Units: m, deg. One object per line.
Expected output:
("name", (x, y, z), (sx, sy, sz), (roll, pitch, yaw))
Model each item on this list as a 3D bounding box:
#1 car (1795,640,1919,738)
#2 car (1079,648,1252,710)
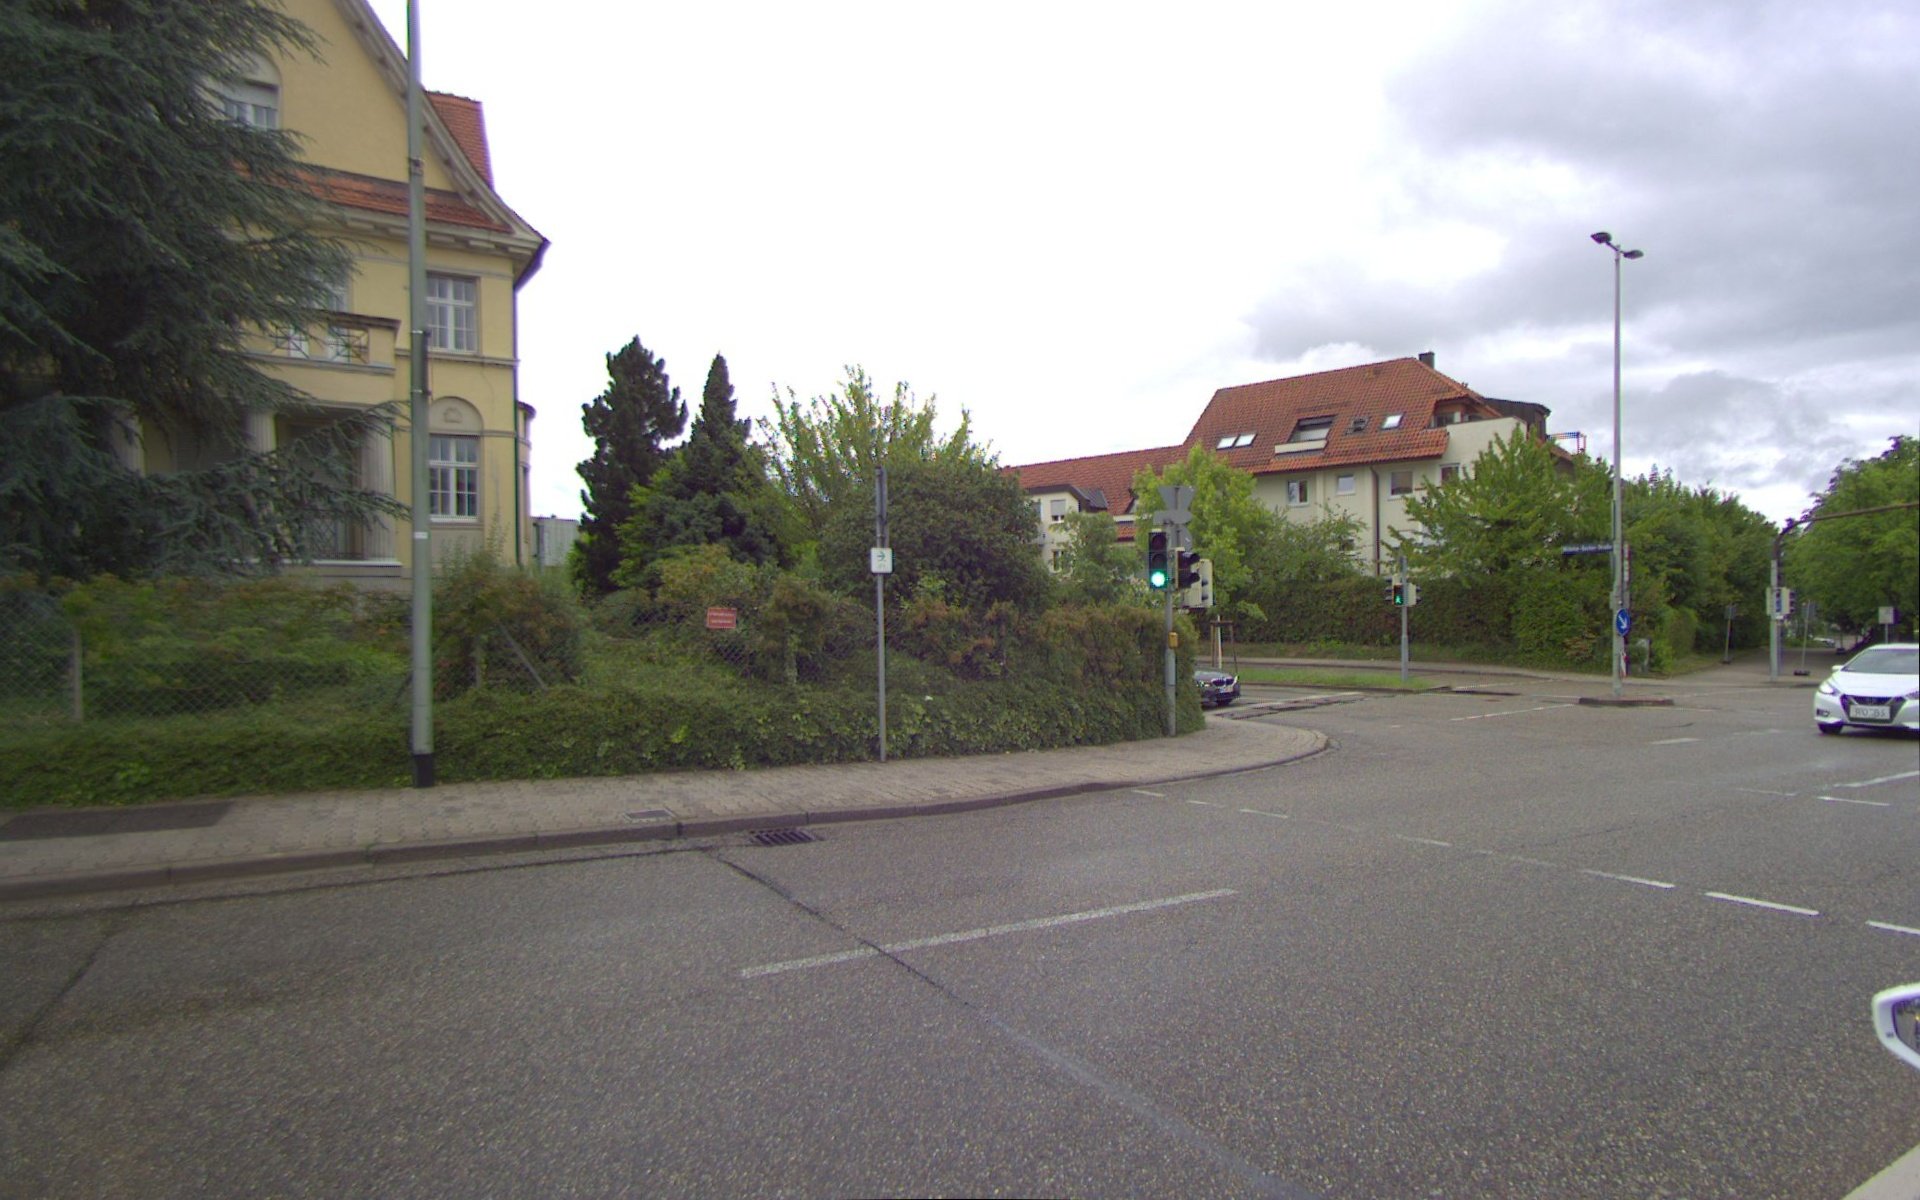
("car", (15.475, 1.380, 16.335), (3.757, 1.415, 1.738), (1, -1, -30))
("car", (5.246, 2.020, 26.154), (1.759, 1.411, 4.392), (0, -3, -35))
